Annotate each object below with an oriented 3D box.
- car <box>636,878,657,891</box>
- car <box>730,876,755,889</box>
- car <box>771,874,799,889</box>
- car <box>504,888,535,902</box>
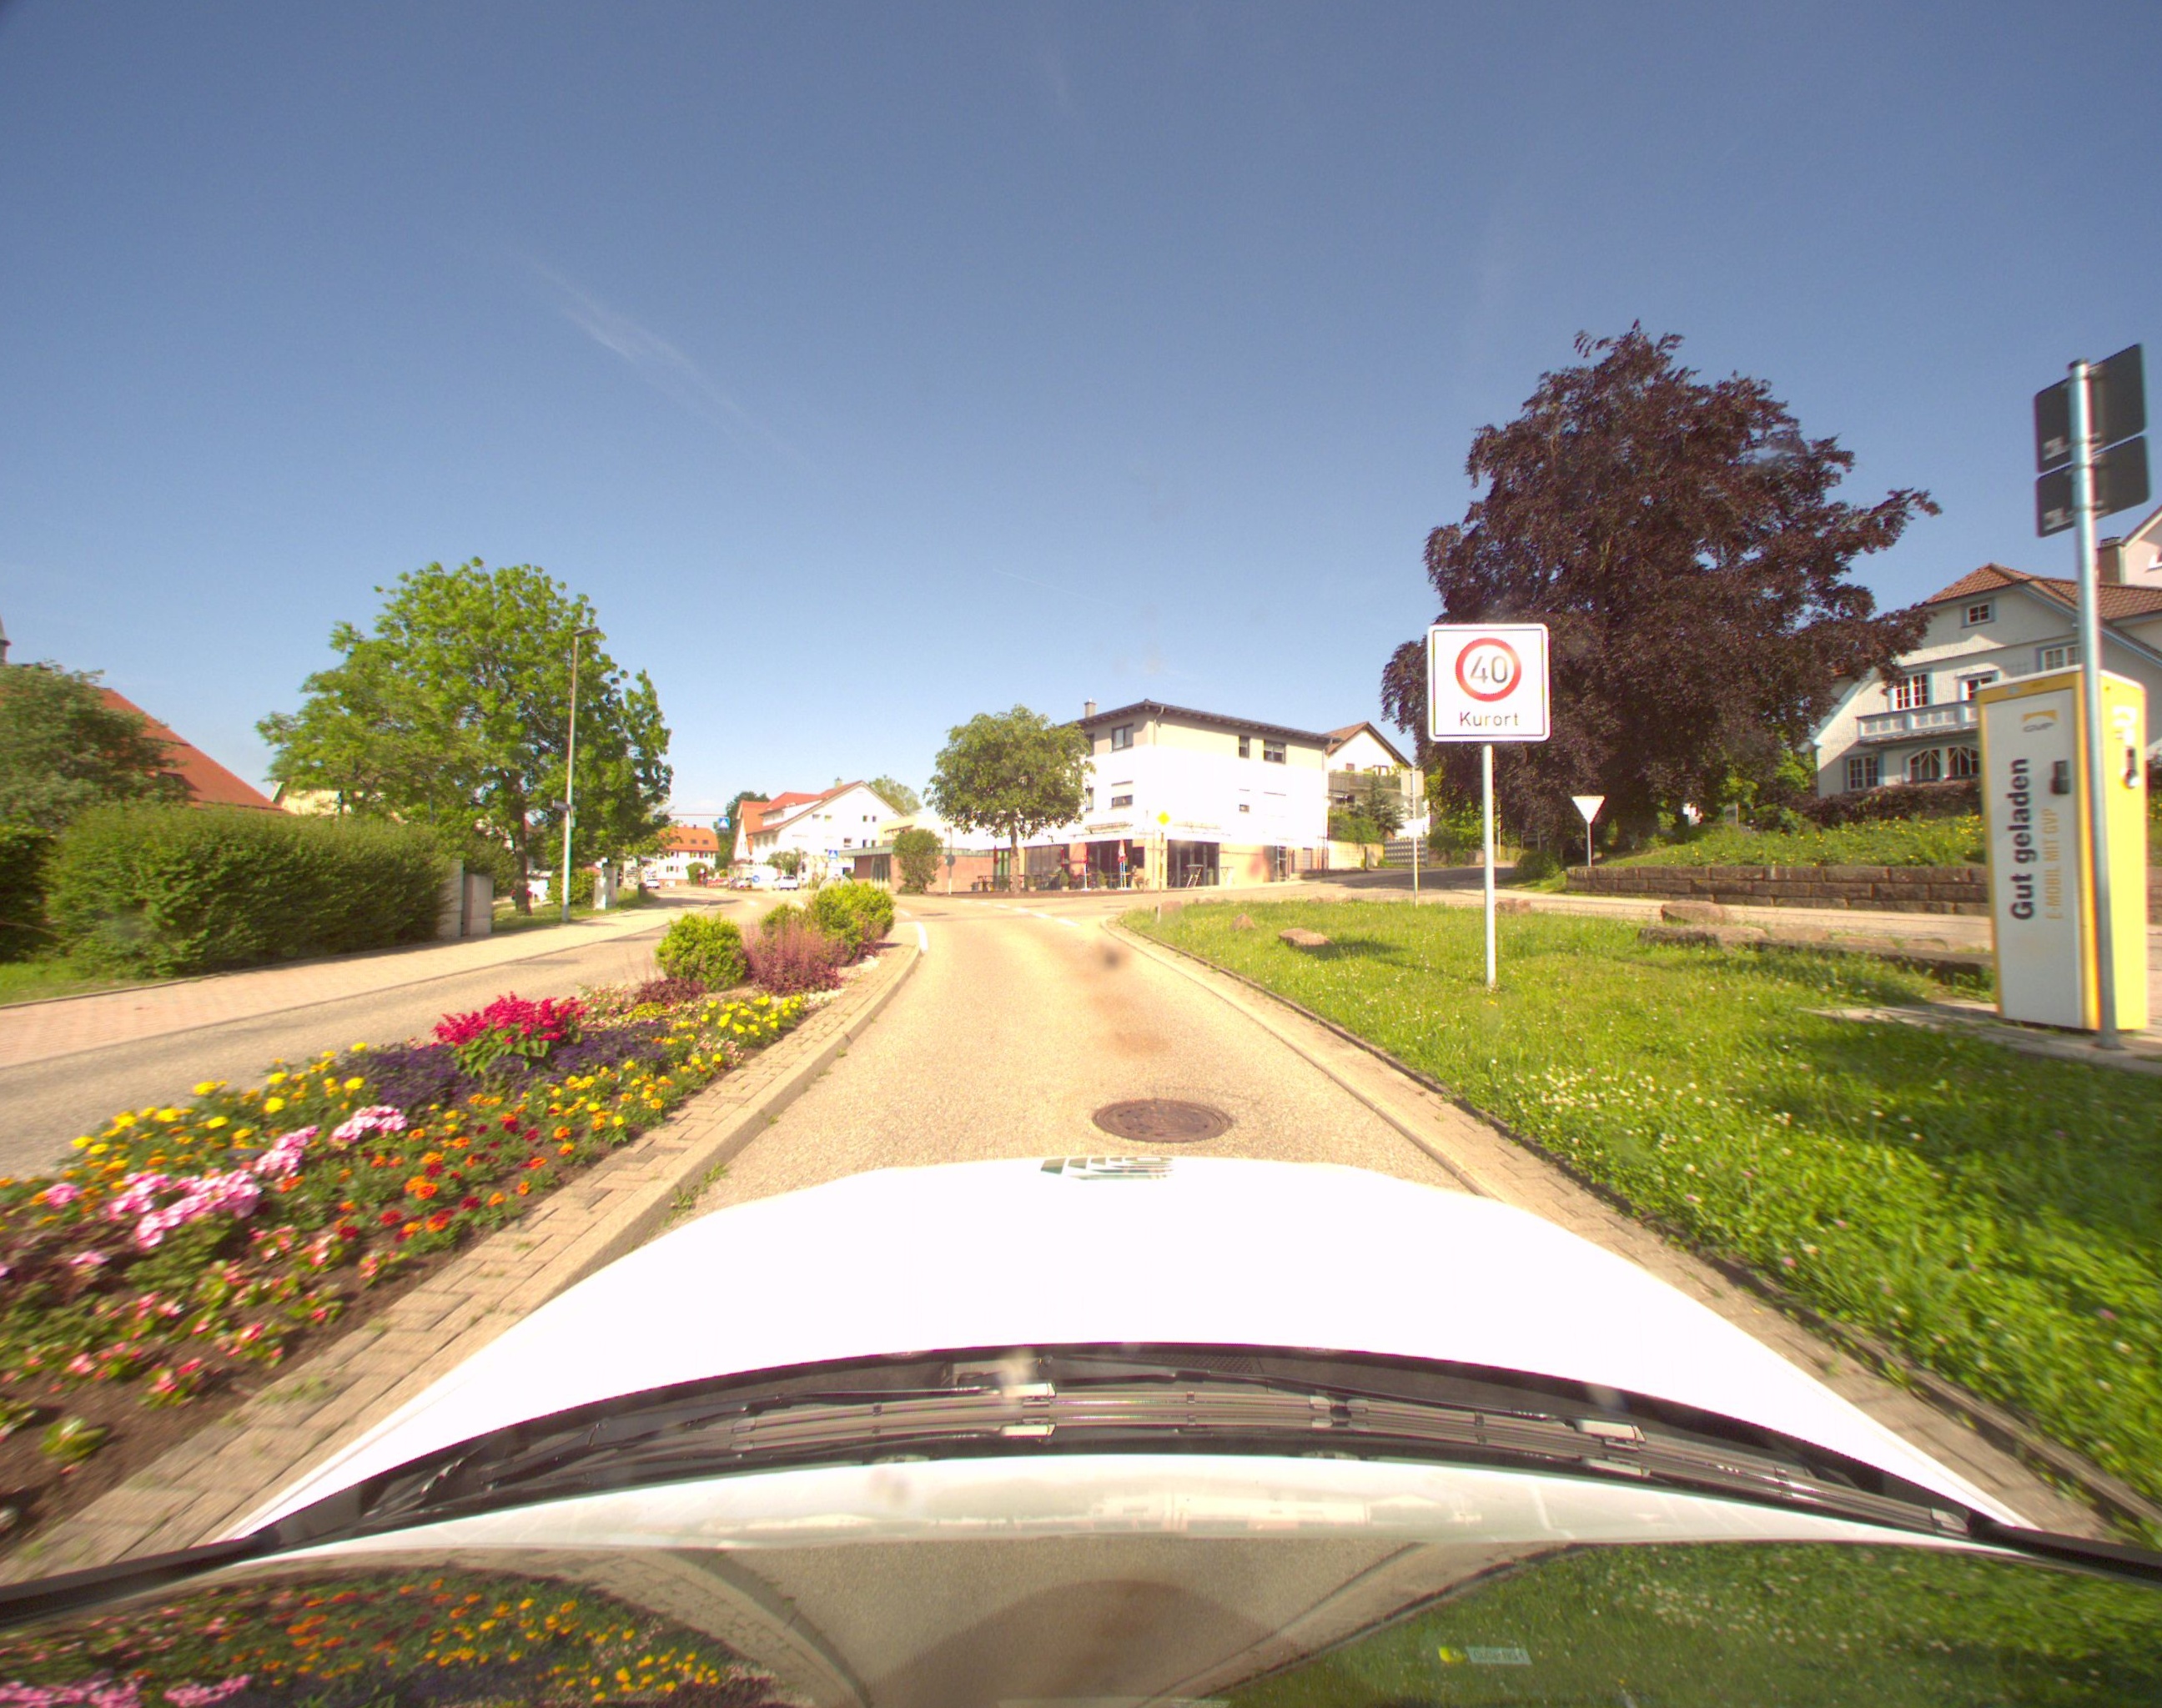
[{"bbox_3d":[-72.117,5.067,134.987,2.514,2.014,4.257,-1,-1,-36],"label":"car"},{"bbox_3d":[-38.540,3.238,92.672,1.648,1.420,3.890,-1,-1,-38],"label":"car"},{"bbox_3d":[-28.276,2.629,77.805,1.772,1.423,3.596,-1,-1,-32],"label":"car"},{"bbox_3d":[-59.125,4.280,85.762,1.726,1.297,3.973,-1,-1,-20],"label":"car"}]
